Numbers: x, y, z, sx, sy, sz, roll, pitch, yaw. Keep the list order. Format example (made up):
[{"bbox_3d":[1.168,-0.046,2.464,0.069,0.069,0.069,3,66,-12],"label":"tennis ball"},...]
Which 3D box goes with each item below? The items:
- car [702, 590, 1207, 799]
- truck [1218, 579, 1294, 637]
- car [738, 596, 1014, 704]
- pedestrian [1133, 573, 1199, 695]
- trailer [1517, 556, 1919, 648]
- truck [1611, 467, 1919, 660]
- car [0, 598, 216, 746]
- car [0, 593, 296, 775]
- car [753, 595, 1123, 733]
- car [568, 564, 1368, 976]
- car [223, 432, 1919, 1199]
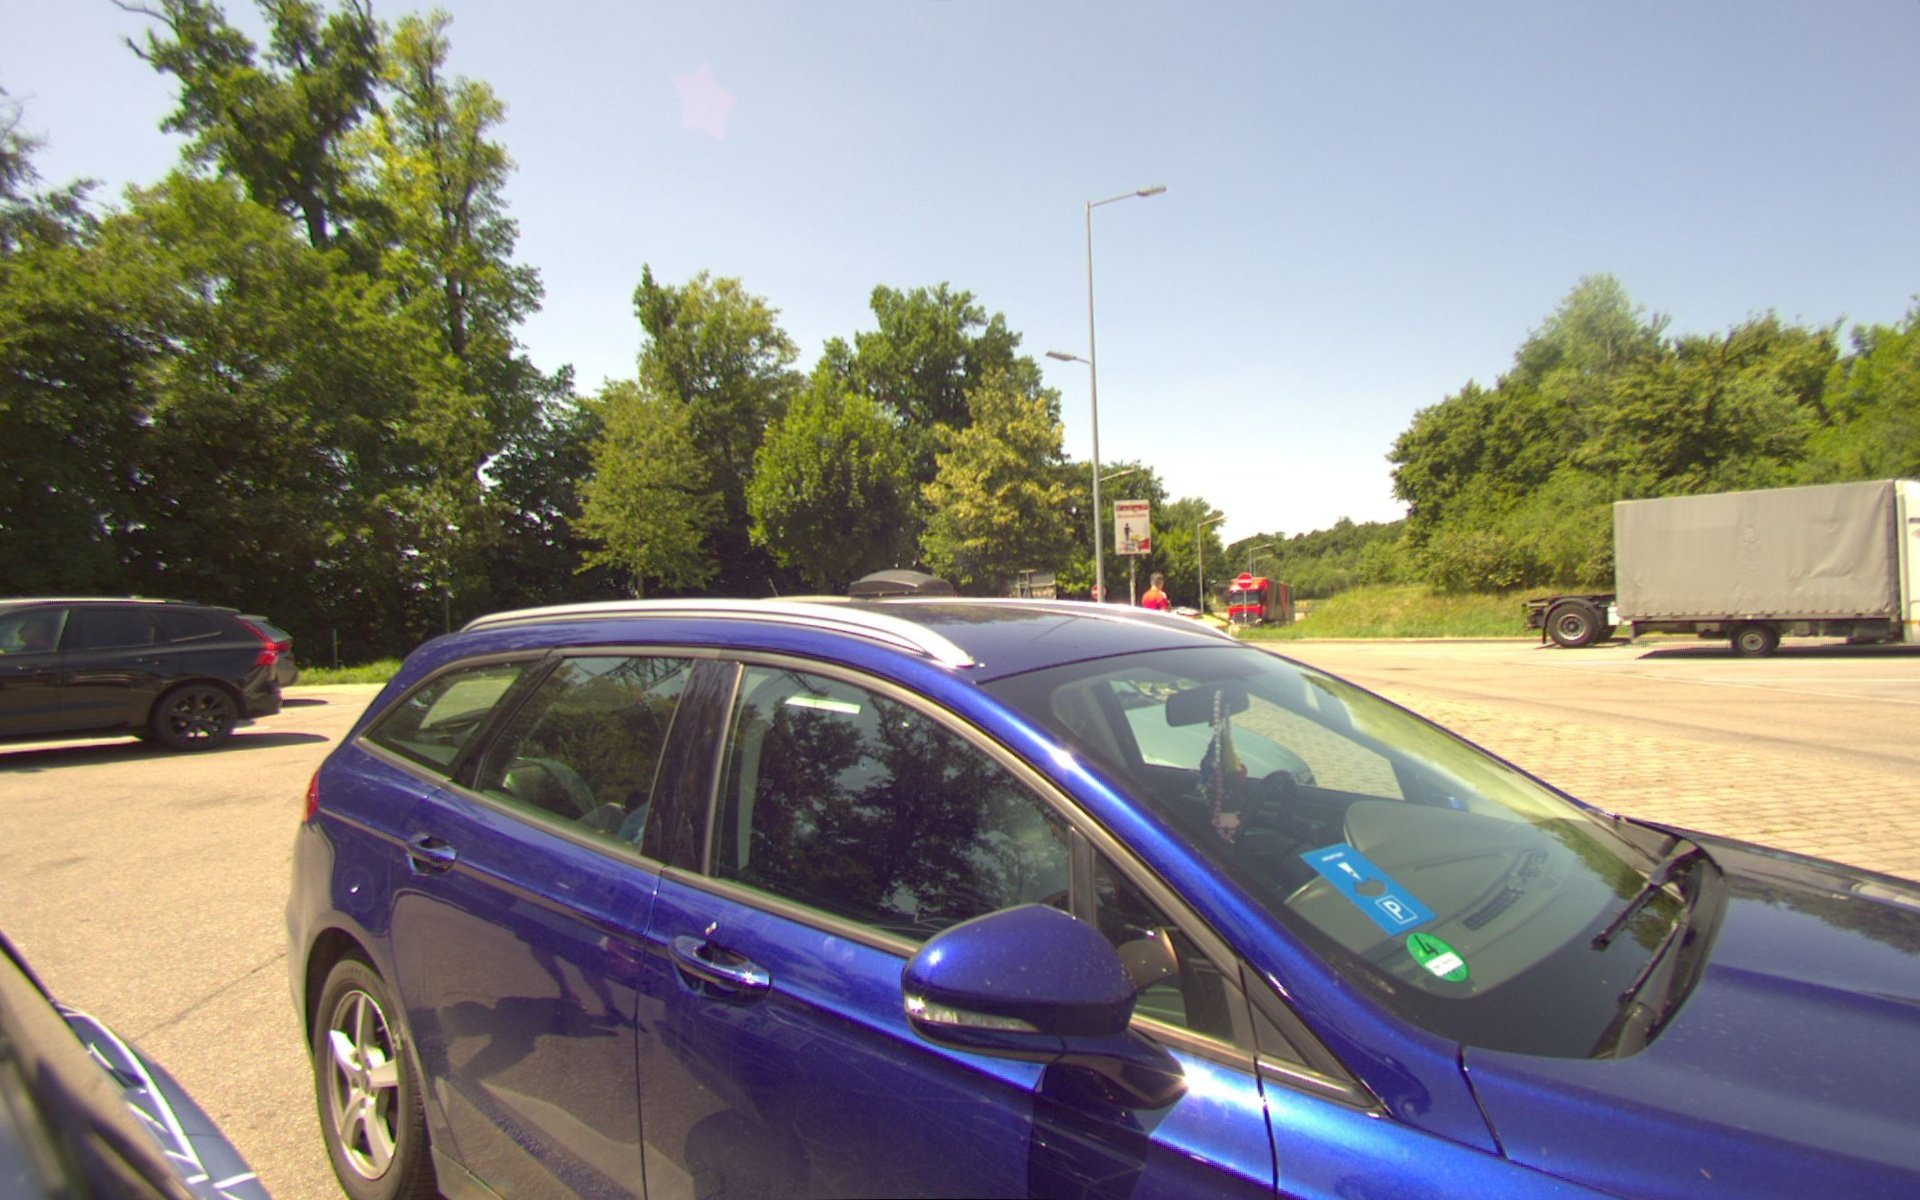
[{"bbox_3d":[-0.244,0.751,9.218,4.490,1.437,1.754,-3,-1,40],"label":"car"},{"bbox_3d":[23.655,0.572,80.046,3.117,4.150,15.261,-1,0,27],"label":"truck"},{"bbox_3d":[-1.476,0.828,16.865,4.485,1.562,1.756,-3,-1,36],"label":"car"},{"bbox_3d":[3.050,0.490,14.953,0.674,1.746,0.824,-2,-1,32],"label":"pedestrian"},{"bbox_3d":[17.254,0.123,23.399,7.295,1.701,2.235,-4,-1,43],"label":"trailer"},{"bbox_3d":[16.828,-0.657,18.971,7.295,3.259,2.709,-4,-1,43],"label":"truck"},{"bbox_3d":[-11.941,0.862,12.308,4.553,1.725,1.741,0,-1,-41],"label":"car"},{"bbox_3d":[-9.780,0.811,10.397,1.997,1.725,4.560,-1,0,37],"label":"car"},{"bbox_3d":[-0.385,0.777,12.766,4.485,1.437,1.756,-3,-1,36],"label":"car"},{"bbox_3d":[-0.257,0.697,5.844,4.490,1.511,1.754,-3,-1,40],"label":"car"},{"bbox_3d":[0.254,0.664,2.146,4.490,1.502,1.851,-3,0,40],"label":"car"}]
